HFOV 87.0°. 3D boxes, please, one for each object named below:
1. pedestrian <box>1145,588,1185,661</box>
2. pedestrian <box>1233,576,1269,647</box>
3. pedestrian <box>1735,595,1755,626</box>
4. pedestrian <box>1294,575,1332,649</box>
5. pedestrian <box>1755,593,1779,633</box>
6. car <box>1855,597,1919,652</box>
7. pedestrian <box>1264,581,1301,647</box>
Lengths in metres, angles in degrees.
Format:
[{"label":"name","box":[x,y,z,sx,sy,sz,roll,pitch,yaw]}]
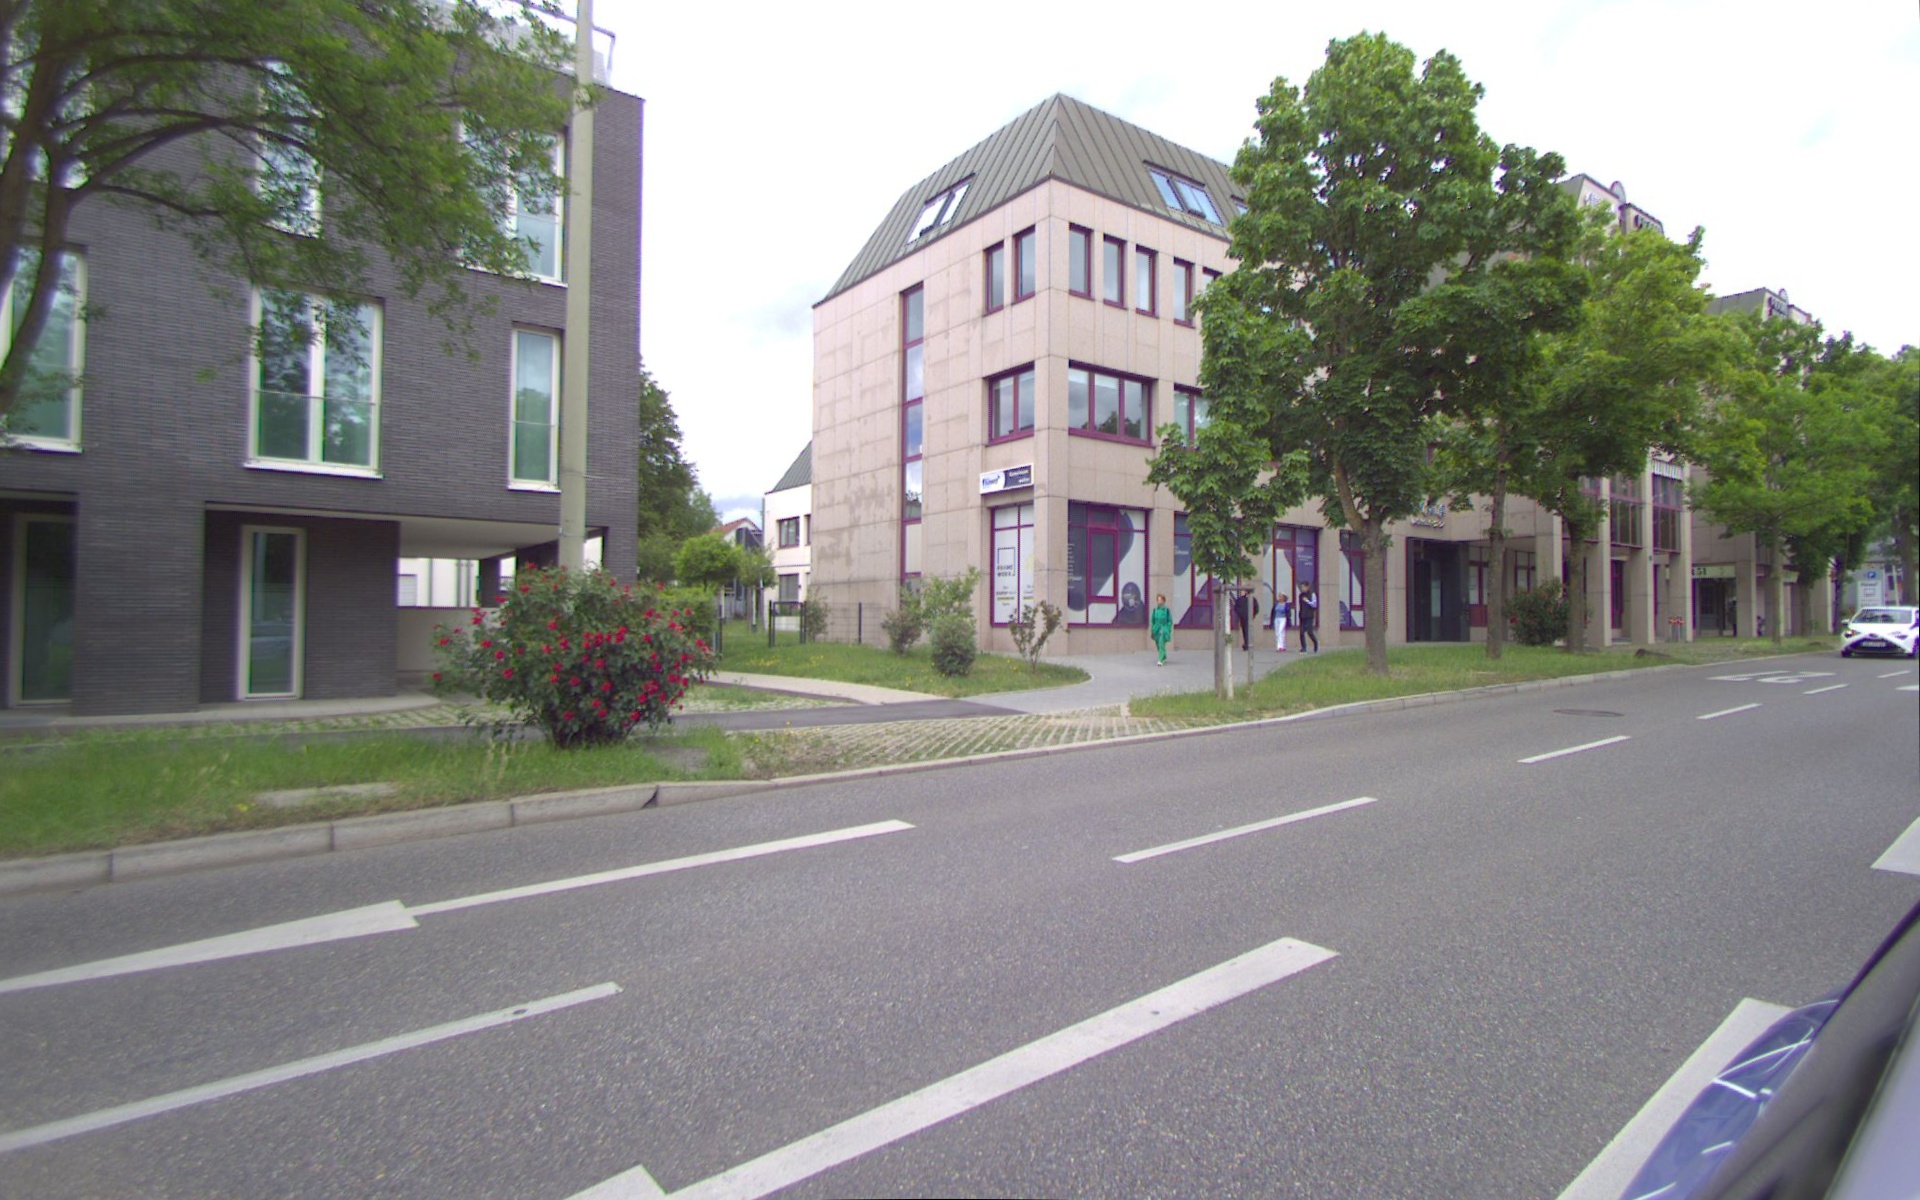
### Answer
[{"label":"pedestrian","box":[4.427,0.523,21.851,0.665,1.537,0.496,0,2,-41]},{"label":"pedestrian","box":[7.696,0.301,26.737,0.665,1.828,0.642,0,-1,-41]},{"label":"pedestrian","box":[36.217,0.465,46.696,0.629,1.422,0.607,0,0,-39]},{"label":"pedestrian","box":[8.937,0.305,25.614,0.665,1.828,0.642,0,-1,-41]},{"label":"pedestrian","box":[36.930,0.583,46.305,0.932,1.845,0.718,0,0,-41]},{"label":"car","box":[26.810,0.661,28.591,3.470,1.443,1.658,0,1,-38]},{"label":"pedestrian","box":[8.336,0.357,26.149,0.665,1.668,0.642,0,-1,-41]}]
